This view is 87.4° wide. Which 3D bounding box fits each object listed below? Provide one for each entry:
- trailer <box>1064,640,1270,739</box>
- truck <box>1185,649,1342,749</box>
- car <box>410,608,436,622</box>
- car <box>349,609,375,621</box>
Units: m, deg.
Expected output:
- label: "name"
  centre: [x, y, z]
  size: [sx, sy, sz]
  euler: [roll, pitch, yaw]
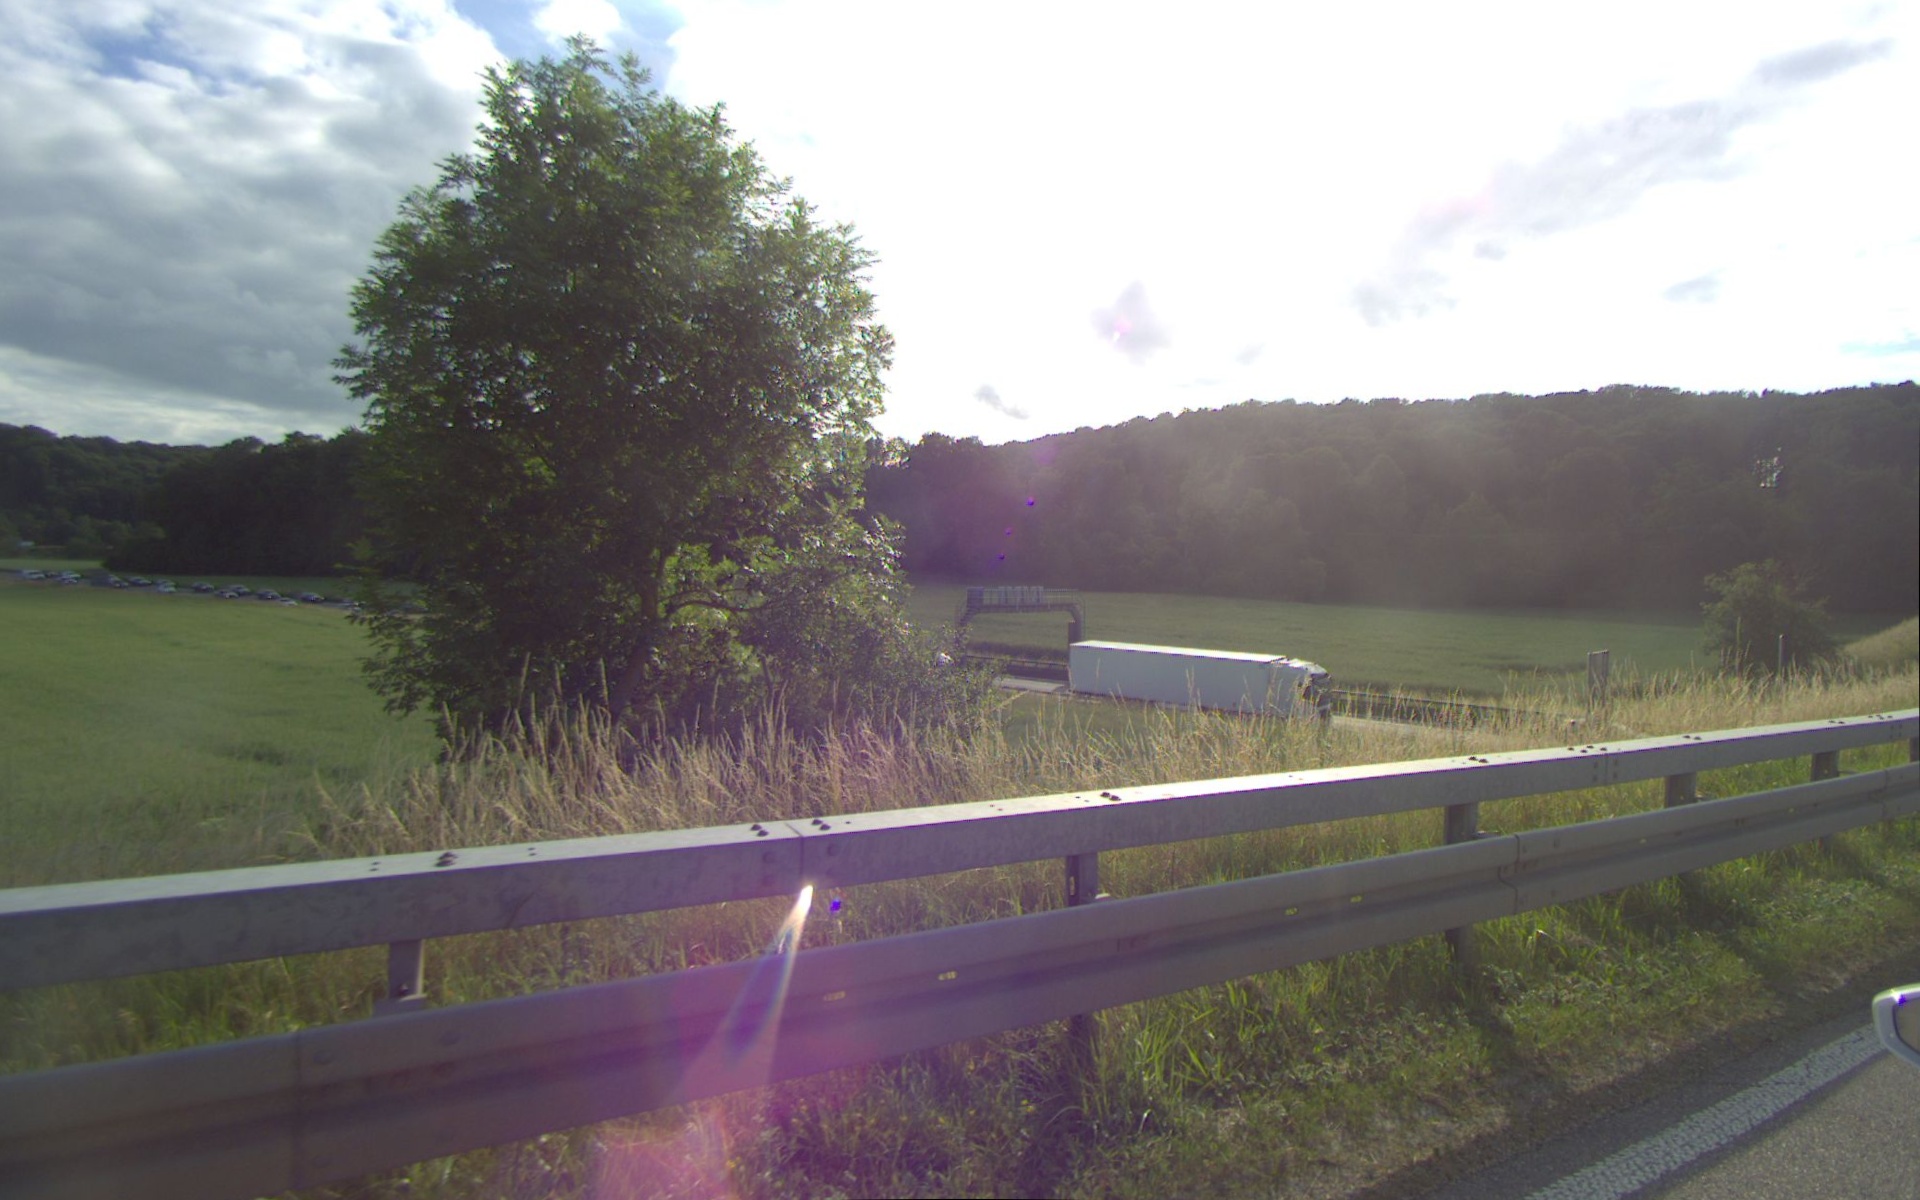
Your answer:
- label: "trailer"
  centre: [12.205, 5.178, 60.910]
  size: [12.546, 4.529, 3.014]
  euler: [2, 4, 43]
- label: "truck"
  centre: [16.925, 5.370, 56.461]
  size: [7.943, 4.529, 3.011]
  euler: [2, 5, 44]
- label: "car"
  centre: [-74.342, 2.050, 139.081]
  size: [3.937, 1.608, 1.795]
  euler: [4, 1, 38]
- label: "car"
  centre: [-83.245, 2.037, 139.780]
  size: [3.938, 1.462, 1.820]
  euler: [3, 2, 39]
